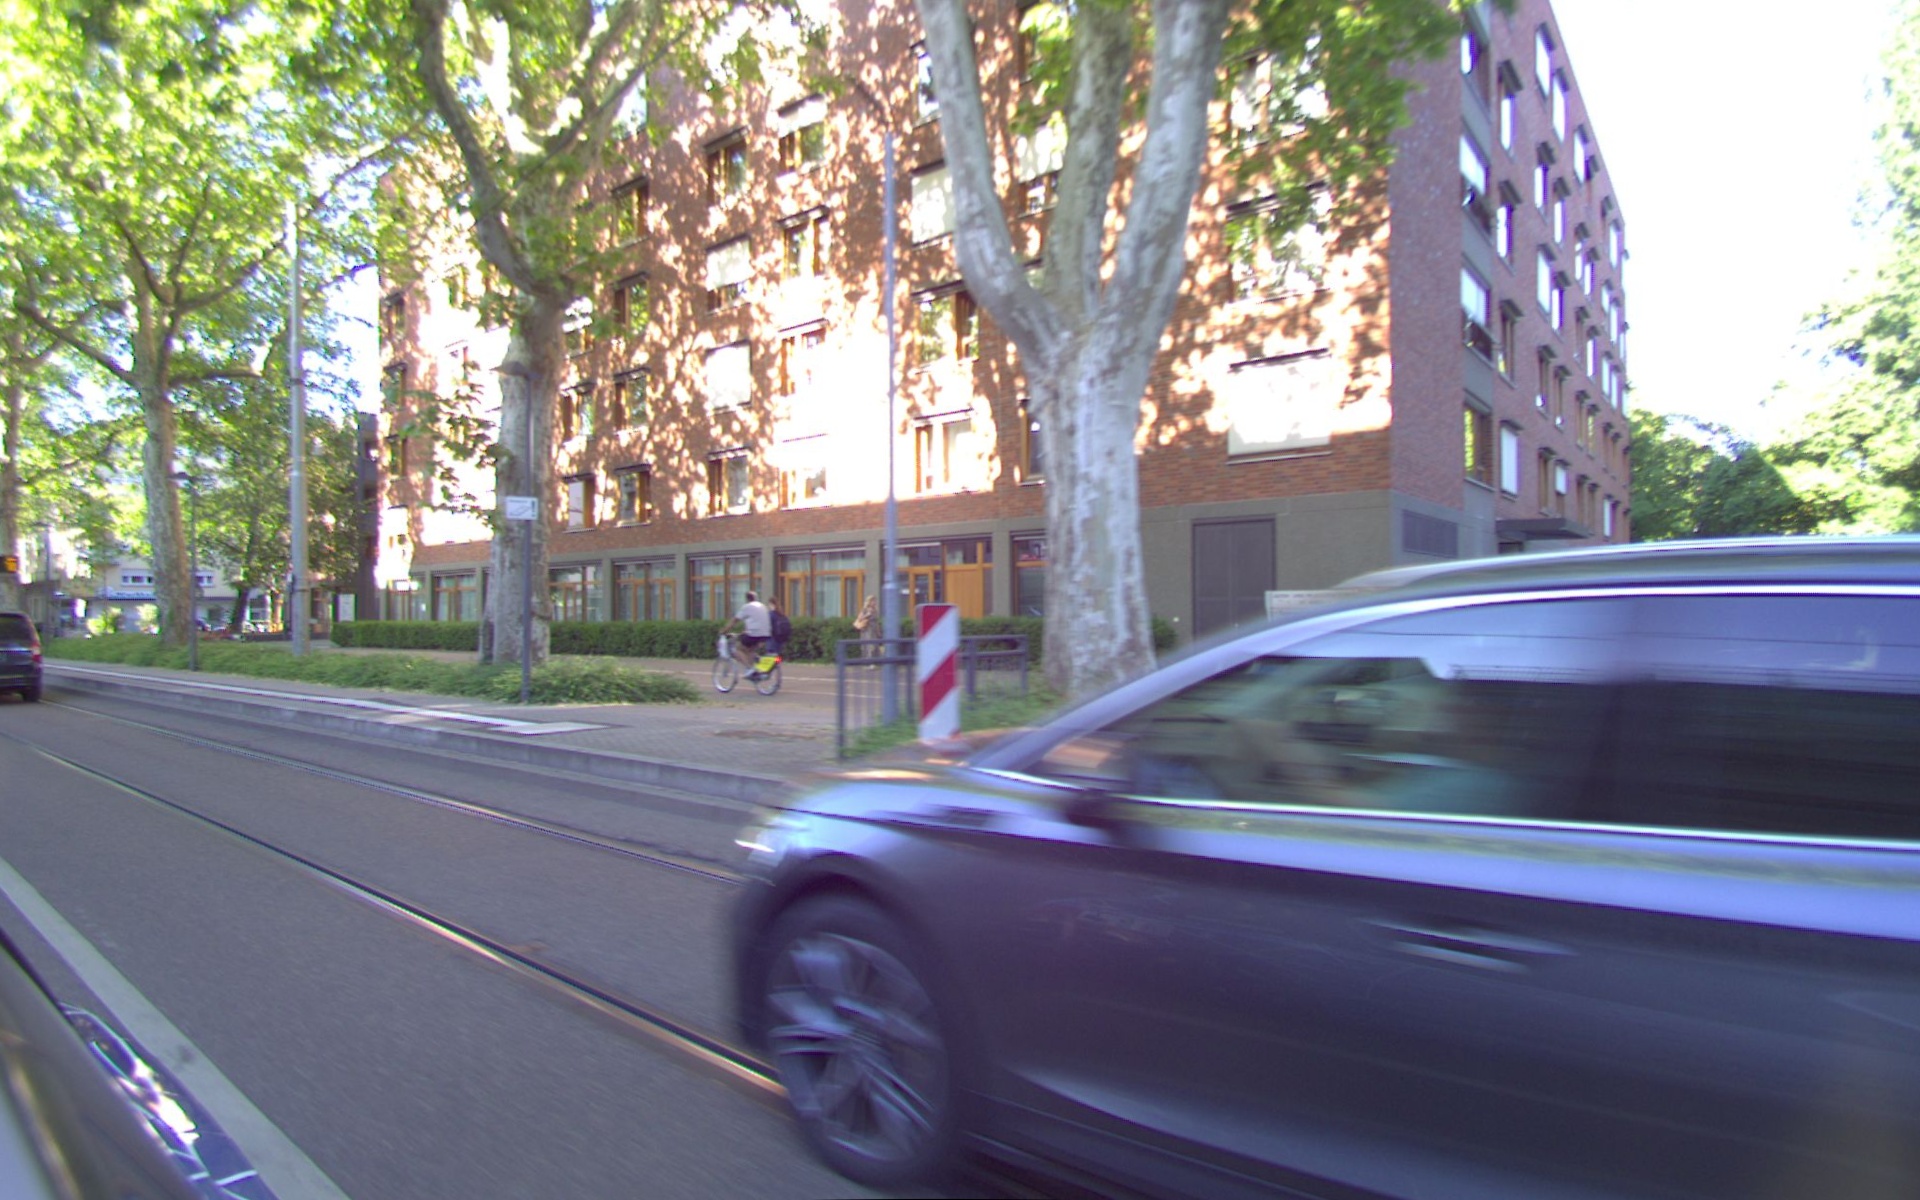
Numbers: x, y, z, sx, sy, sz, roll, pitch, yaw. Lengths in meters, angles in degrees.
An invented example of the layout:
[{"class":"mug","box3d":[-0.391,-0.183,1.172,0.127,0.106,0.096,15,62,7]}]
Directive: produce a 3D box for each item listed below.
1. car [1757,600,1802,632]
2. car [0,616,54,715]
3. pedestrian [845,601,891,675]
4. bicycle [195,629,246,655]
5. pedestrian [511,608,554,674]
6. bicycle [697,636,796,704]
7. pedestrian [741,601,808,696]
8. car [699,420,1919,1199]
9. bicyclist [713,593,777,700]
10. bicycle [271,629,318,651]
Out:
[{"class":"car","box3d":[39.035,0.754,48.172,1.557,1.435,3.590,-1,0,40]},{"class":"car","box3d":[-19.092,1.207,19.274,5.138,1.729,1.974,-1,0,39]},{"class":"pedestrian","box3d":[-2.018,0.816,22.240,0.715,1.585,0.657,-1,0,39]},{"class":"bicycle","box3d":[-37.853,2.132,51.824,2.067,1.198,0.883,-1,0,-34]},{"class":"pedestrian","box3d":[-11.556,1.094,27.352,0.971,1.757,0.659,-1,0,39]},{"class":"bicycle","box3d":[-3.738,1.192,17.612,1.838,1.071,0.708,-1,0,41]},{"class":"pedestrian","box3d":[-3.412,0.870,18.619,0.968,1.685,0.730,-1,0,41]},{"class":"car","box3d":[1.538,0.619,2.221,4.315,1.650,1.890,-1,-2,39]},{"class":"bicyclist","box3d":[-3.742,0.788,17.617,0.838,1.801,0.692,-1,0,41]},{"class":"bicycle","box3d":[-35.679,2.131,54.249,2.011,1.102,0.821,-1,0,2]}]
